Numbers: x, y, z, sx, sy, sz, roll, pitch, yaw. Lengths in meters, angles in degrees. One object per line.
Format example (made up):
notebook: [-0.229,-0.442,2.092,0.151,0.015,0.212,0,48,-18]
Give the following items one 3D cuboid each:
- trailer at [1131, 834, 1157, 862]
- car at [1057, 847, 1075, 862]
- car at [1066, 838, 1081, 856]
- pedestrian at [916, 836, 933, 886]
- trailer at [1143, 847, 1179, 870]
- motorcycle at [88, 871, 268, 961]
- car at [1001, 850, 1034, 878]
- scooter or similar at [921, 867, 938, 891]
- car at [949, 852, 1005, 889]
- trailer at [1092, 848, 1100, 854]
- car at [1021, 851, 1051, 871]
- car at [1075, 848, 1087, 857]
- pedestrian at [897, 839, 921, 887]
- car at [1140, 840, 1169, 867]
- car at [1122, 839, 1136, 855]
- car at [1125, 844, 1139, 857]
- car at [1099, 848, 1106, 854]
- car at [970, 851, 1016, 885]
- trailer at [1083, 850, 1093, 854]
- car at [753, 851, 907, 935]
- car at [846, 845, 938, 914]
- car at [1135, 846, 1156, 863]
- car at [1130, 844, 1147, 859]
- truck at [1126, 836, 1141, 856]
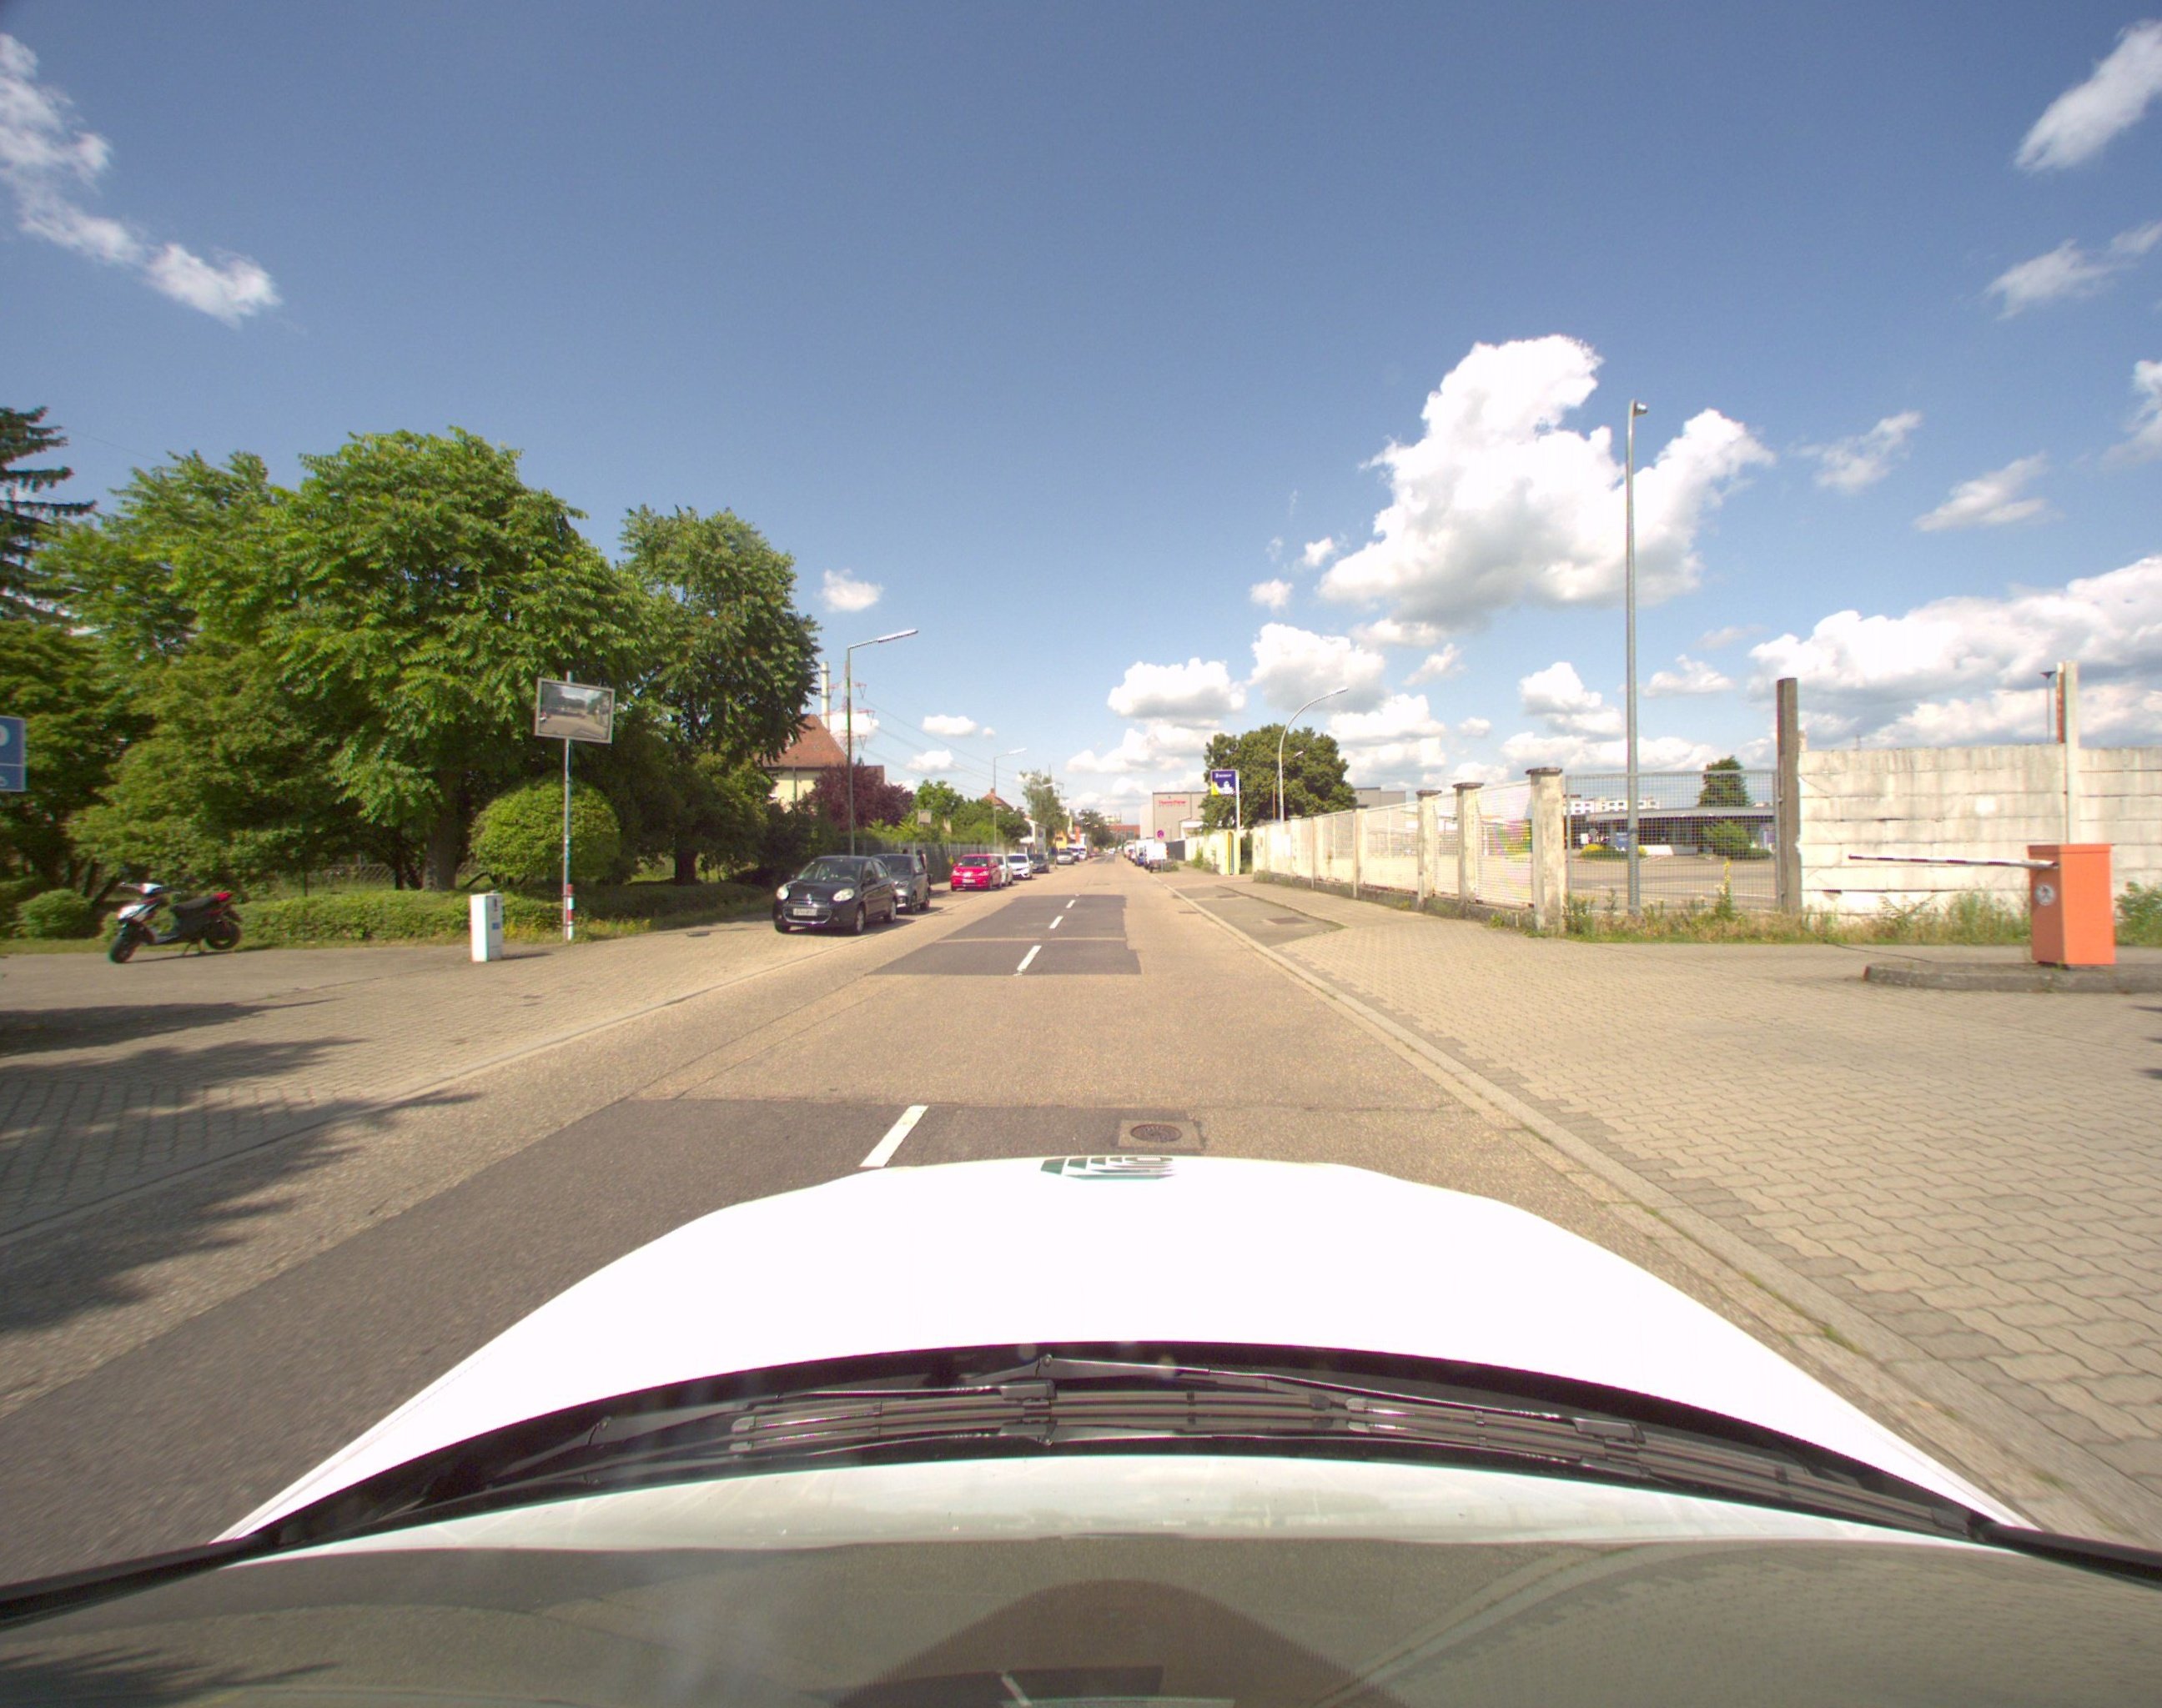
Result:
trailer: [6.547,-0.602,85.407,2.196,2.737,6.224,-4,0,2]
car: [-1.771,0.056,96.686,1.784,1.719,4.754,1,0,2]
car: [-1.100,-0.939,119.532,2.023,2.557,6.657,1,0,1]
pedestrian: [-6.048,0.258,31.466,0.449,1.894,0.678,-1,-1,2]
trailer: [5.477,0.328,56.006,1.745,1.417,4.544,-4,0,-3]
motorcycle: [-13.766,0.900,12.505,0.530,1.220,1.941,-1,0,2]
car: [-3.670,0.553,47.837,1.615,1.522,4.174,-1,0,-1]
scooter or similar: [-5.750,0.937,30.952,0.469,0.887,0.710,-1,0,2]
car: [-4.272,0.648,33.891,1.659,1.467,3.747,0,0,3]
trailer: [4.109,-0.755,217.878,1.986,1.556,4.256,-1,0,2]
car: [-3.264,0.484,59.490,1.799,1.418,4.497,1,0,1]
car: [0.055,-0.266,139.264,1.788,1.397,4.506,0,0,4]
pedestrian: [-6.595,0.343,31.268,0.705,1.801,0.916,-1,-1,2]
car: [5.963,-0.043,66.400,1.986,2.013,5.653,-2,0,2]
car: [10.542,-1.566,179.187,2.381,3.362,6.643,-3,0,0]
car: [8.213,-0.547,130.617,2.045,1.903,5.151,-2,-1,4]
car: [6.783,-1.063,256.866,1.913,1.794,4.005,0,0,5]
car: [-4.119,0.638,38.689,1.639,1.477,4.030,-1,0,2]
trailer: [1.757,-0.473,196.901,2.353,0.893,5.572,1,0,2]
car: [-5.114,0.721,17.192,1.838,1.508,4.002,2,0,2]
car: [-4.972,0.619,21.855,1.645,1.645,3.273,2,0,0]
car: [6.206,0.060,78.752,1.684,1.461,4.071,-3,0,1]
car: [7.320,-0.352,103.910,1.928,1.693,4.682,-4,0,2]
truck: [9.483,-1.483,147.944,2.448,3.293,6.823,-6,0,3]
